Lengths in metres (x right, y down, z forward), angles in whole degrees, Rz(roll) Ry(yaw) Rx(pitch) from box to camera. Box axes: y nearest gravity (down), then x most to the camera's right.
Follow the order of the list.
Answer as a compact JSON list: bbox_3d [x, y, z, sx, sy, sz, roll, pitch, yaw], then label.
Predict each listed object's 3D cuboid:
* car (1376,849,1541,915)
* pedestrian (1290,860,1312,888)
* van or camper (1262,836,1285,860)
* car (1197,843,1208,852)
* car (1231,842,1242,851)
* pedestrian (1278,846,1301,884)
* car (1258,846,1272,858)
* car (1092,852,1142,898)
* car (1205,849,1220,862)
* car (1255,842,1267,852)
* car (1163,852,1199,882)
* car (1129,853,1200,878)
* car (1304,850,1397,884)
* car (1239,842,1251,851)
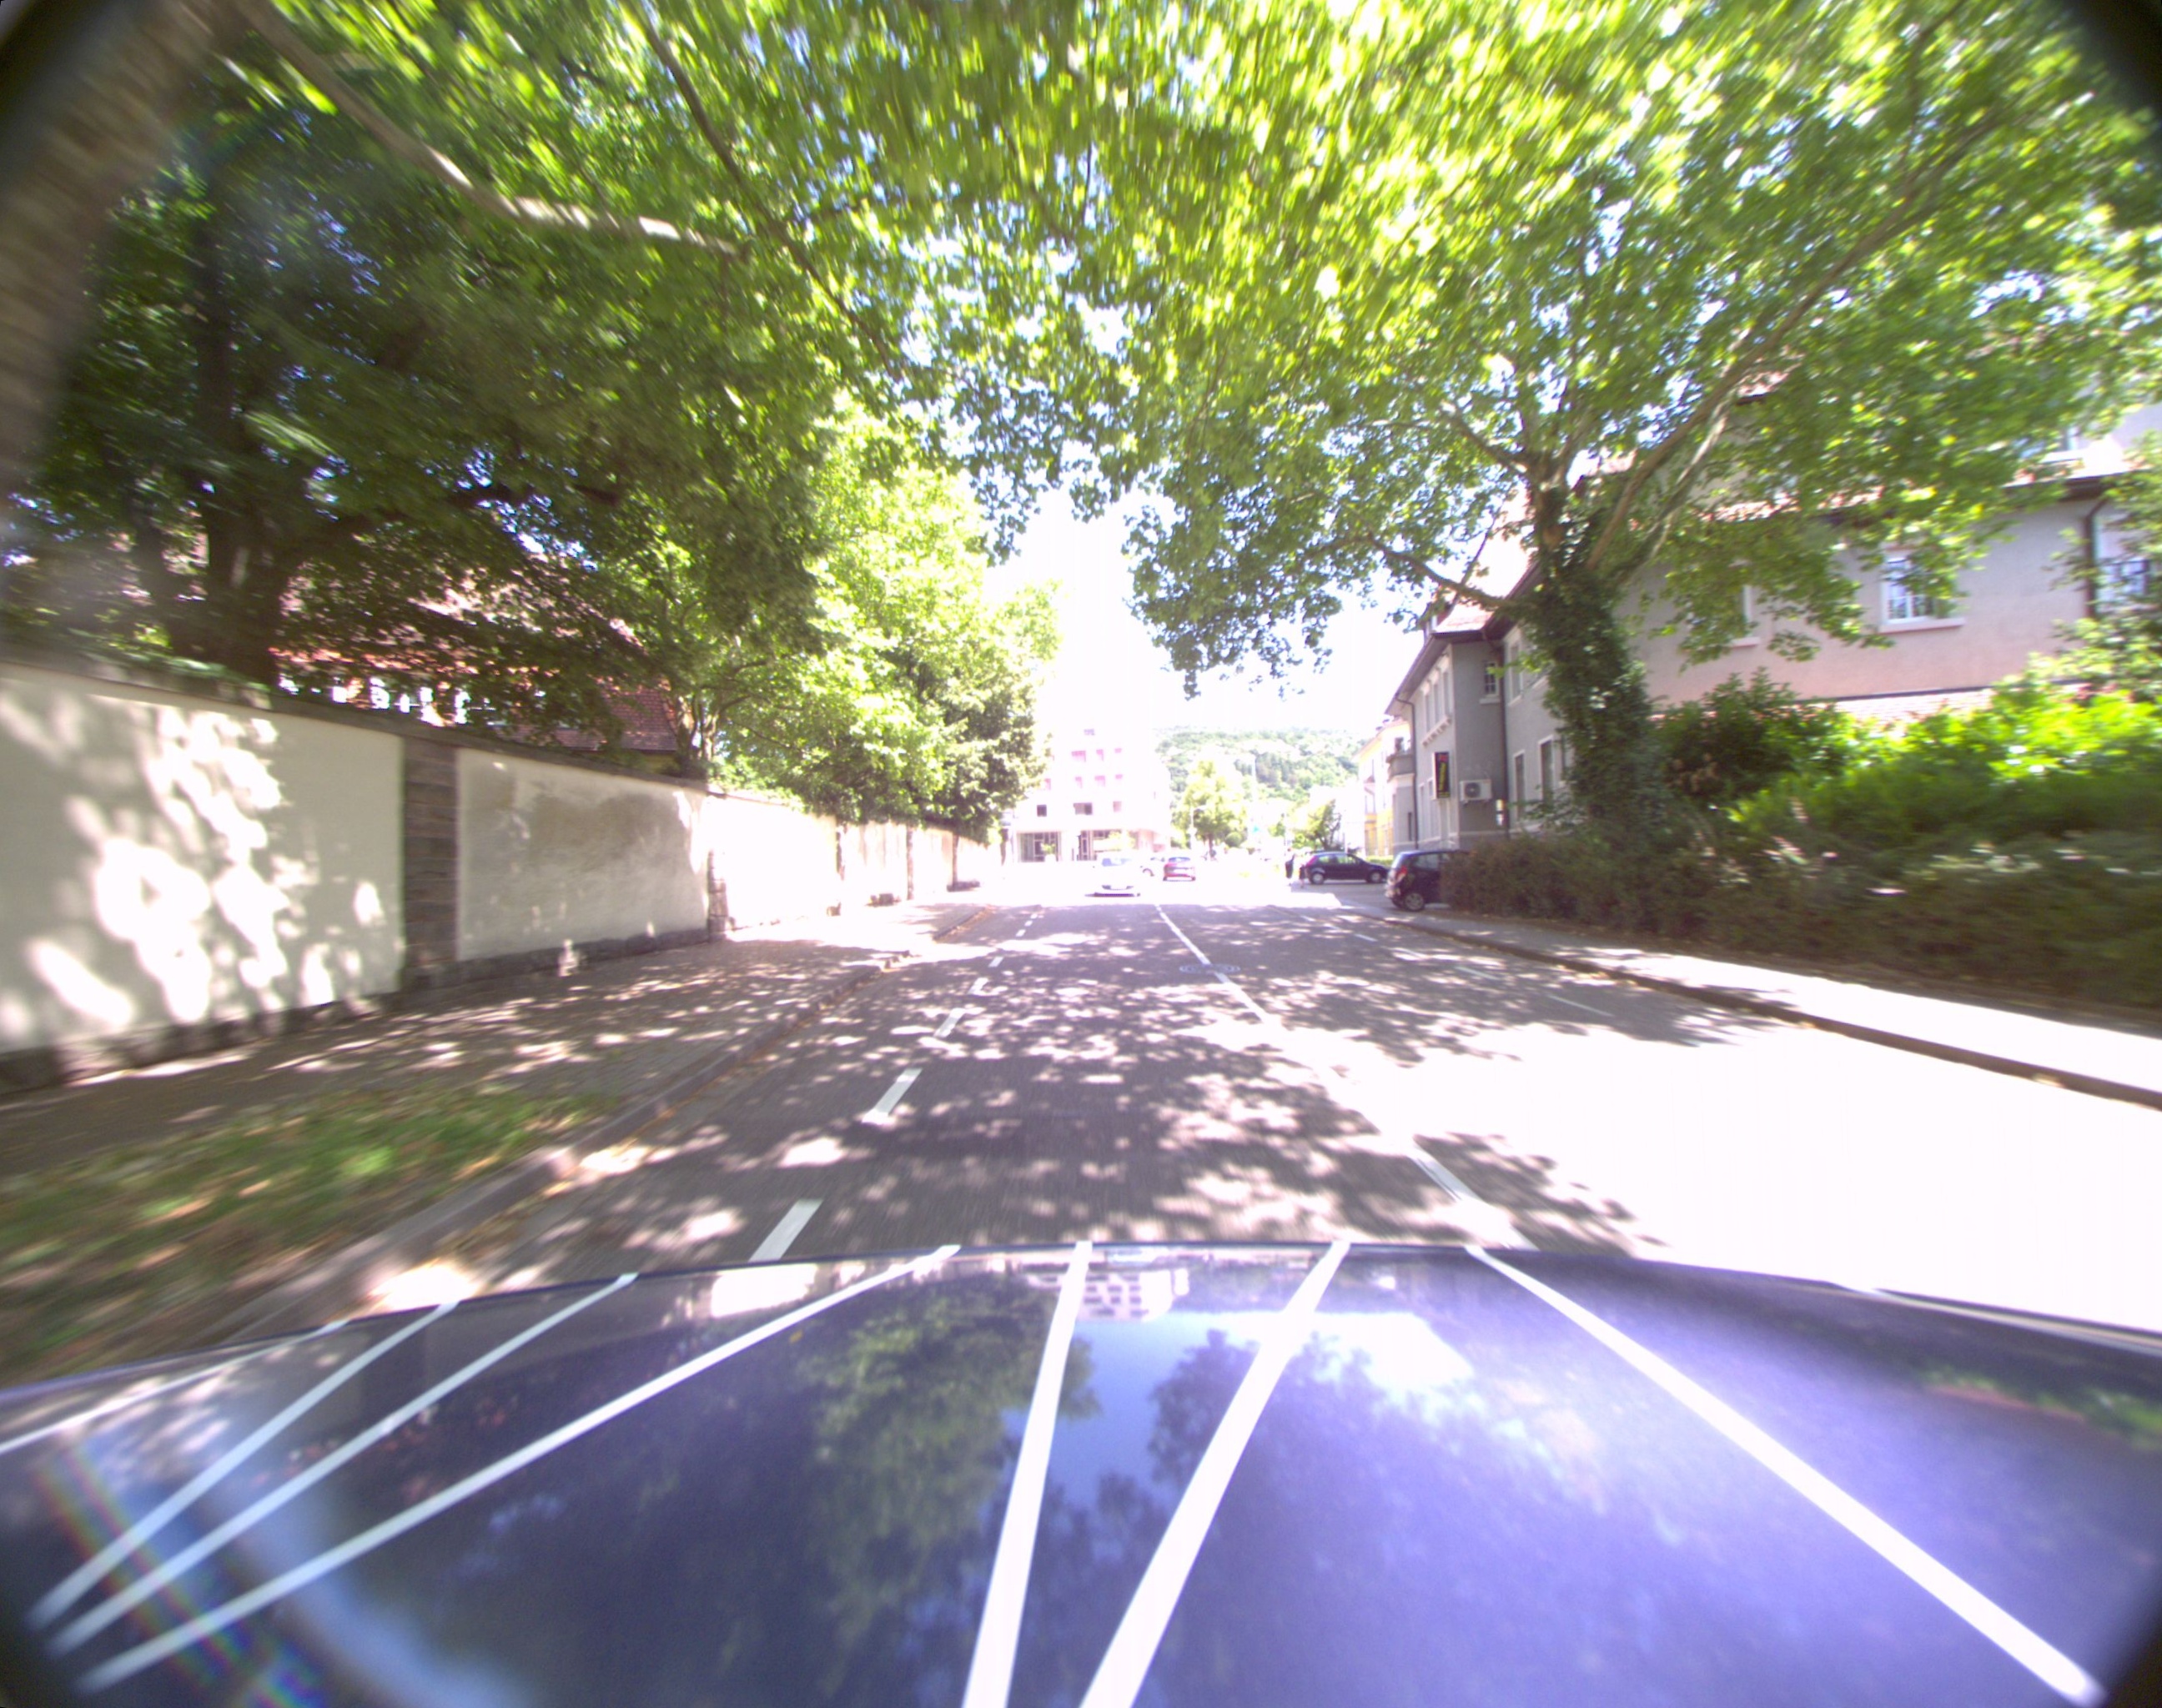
[{"bbox_3d":[9.409,0.681,19.196,3.387,1.538,1.725,-1,1,11],"label":"car"},{"bbox_3d":[9.265,0.836,32.023,0.755,1.115,0.897,-1,1,7],"label":"pedestrian"},{"bbox_3d":[23.684,-0.750,93.730,2.271,2.623,5.890,-4,0,11],"label":"van or camper"},{"bbox_3d":[23.310,-1.240,145.754,1.764,1.740,4.003,-1,1,12],"label":"car"},{"bbox_3d":[32.620,-1.531,159.215,1.997,1.657,4.002,-1,2,9],"label":"car"},{"bbox_3d":[9.533,0.487,34.789,0.873,1.732,1.113,-1,1,7],"label":"pedestrian"},{"bbox_3d":[25.166,-0.259,103.898,1.753,1.496,3.996,-1,0,12],"label":"car"},{"bbox_3d":[1.270,0.711,27.229,1.659,1.516,4.163,0,0,2],"label":"car"},{"bbox_3d":[15.724,0.142,90.909,1.754,1.496,3.995,-1,0,10],"label":"car"},{"bbox_3d":[28.009,-1.157,118.324,1.753,1.496,3.996,-1,0,12],"label":"car"},{"bbox_3d":[5.276,0.644,40.485,1.772,1.418,4.394,-1,1,6],"label":"car"},{"bbox_3d":[5.134,0.685,46.778,3.991,1.443,1.611,-1,1,22],"label":"car"},{"bbox_3d":[12.242,0.592,34.754,3.787,1.452,1.725,-1,1,11],"label":"car"},{"bbox_3d":[31.938,-1.484,148.105,1.997,1.657,4.002,-1,2,9],"label":"car"}]
